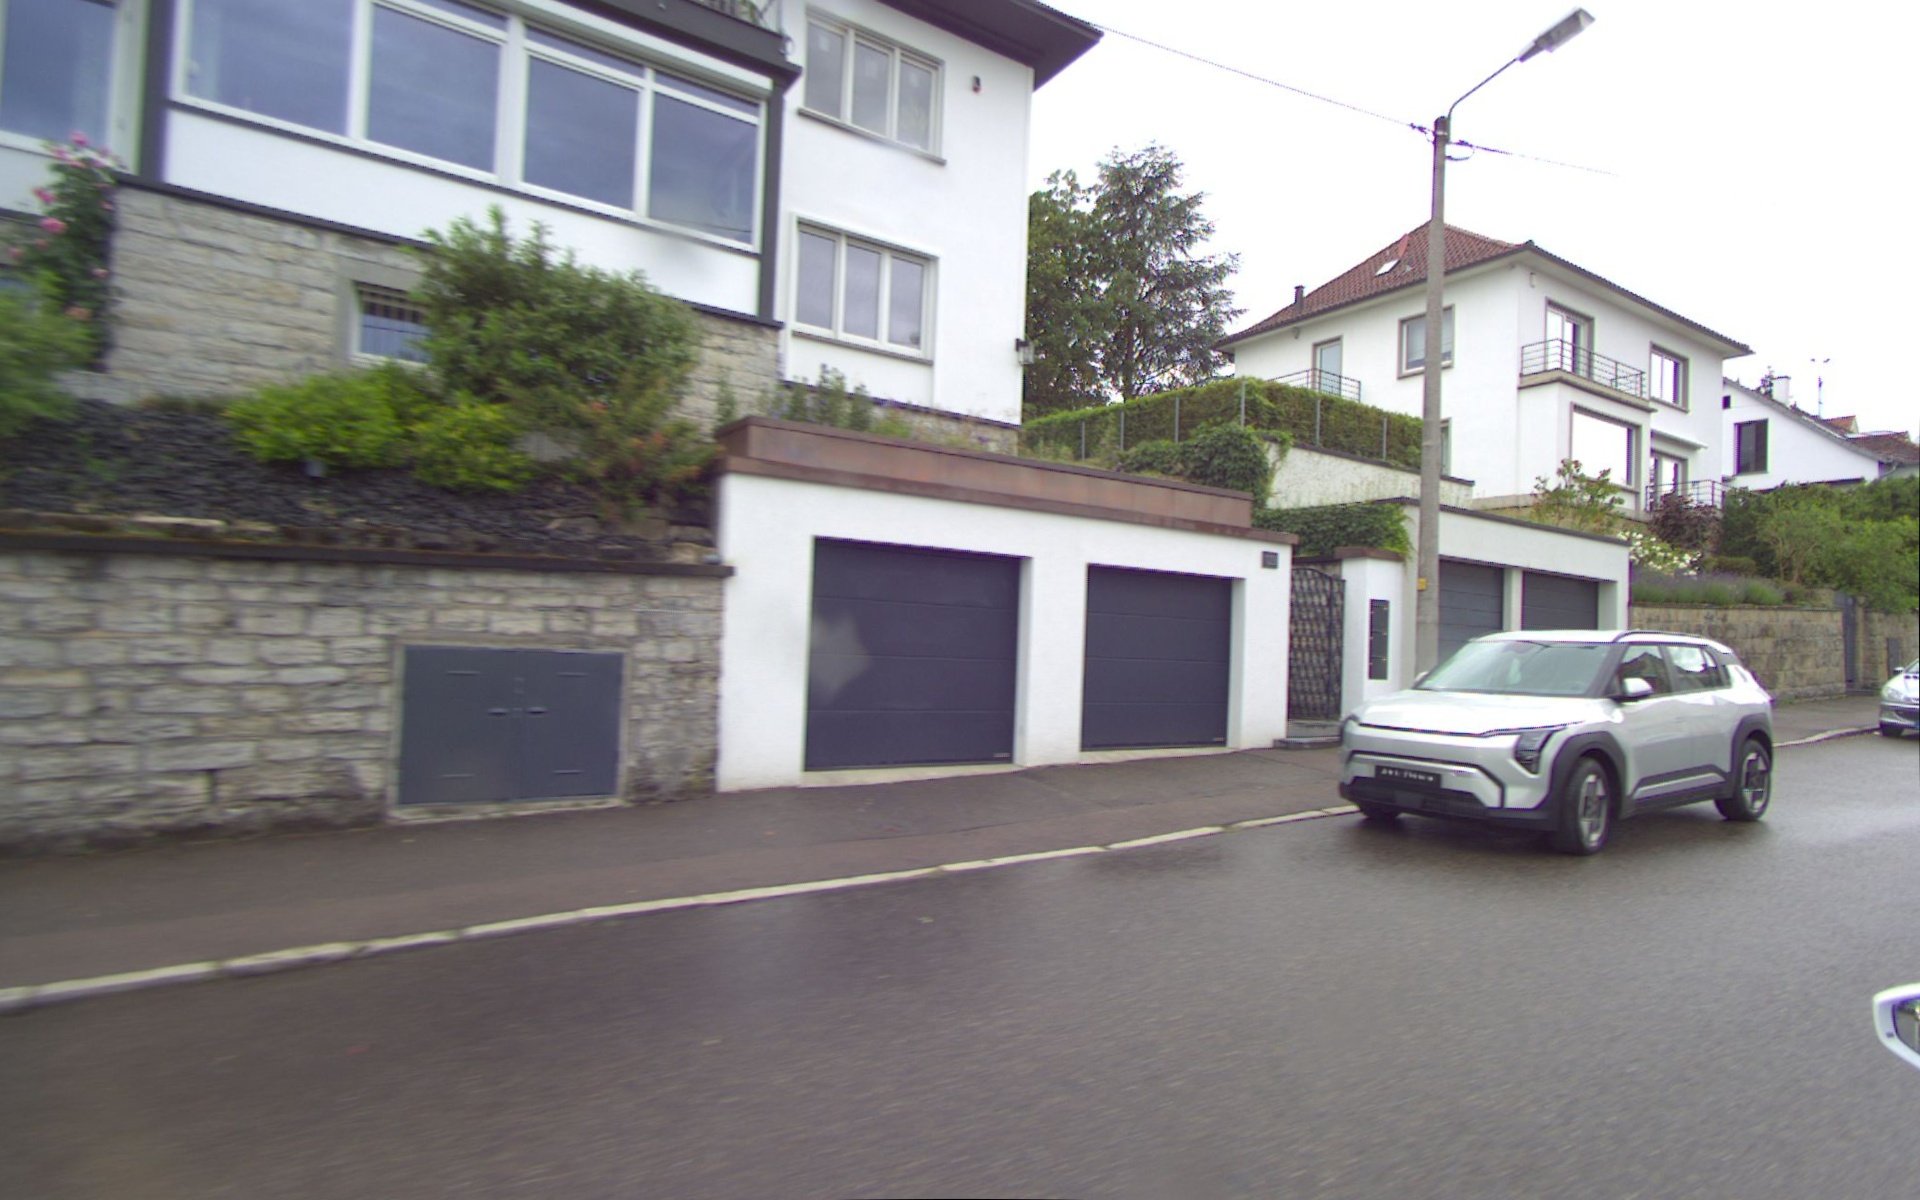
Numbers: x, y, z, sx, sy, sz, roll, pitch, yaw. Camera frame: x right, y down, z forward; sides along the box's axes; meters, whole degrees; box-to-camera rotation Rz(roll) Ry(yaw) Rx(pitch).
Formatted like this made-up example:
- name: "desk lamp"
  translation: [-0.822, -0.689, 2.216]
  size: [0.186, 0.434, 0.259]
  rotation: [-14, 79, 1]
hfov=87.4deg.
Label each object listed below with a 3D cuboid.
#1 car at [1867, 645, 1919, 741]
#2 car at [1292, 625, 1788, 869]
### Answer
- name: "car"
  translation: [15.703, 1.397, 15.467]
  size: [3.798, 1.355, 1.601]
  rotation: [1, -1, -32]
- name: "car"
  translation: [4.967, 1.019, 8.476]
  size: [4.191, 1.588, 1.888]
  rotation: [1, -2, -32]
